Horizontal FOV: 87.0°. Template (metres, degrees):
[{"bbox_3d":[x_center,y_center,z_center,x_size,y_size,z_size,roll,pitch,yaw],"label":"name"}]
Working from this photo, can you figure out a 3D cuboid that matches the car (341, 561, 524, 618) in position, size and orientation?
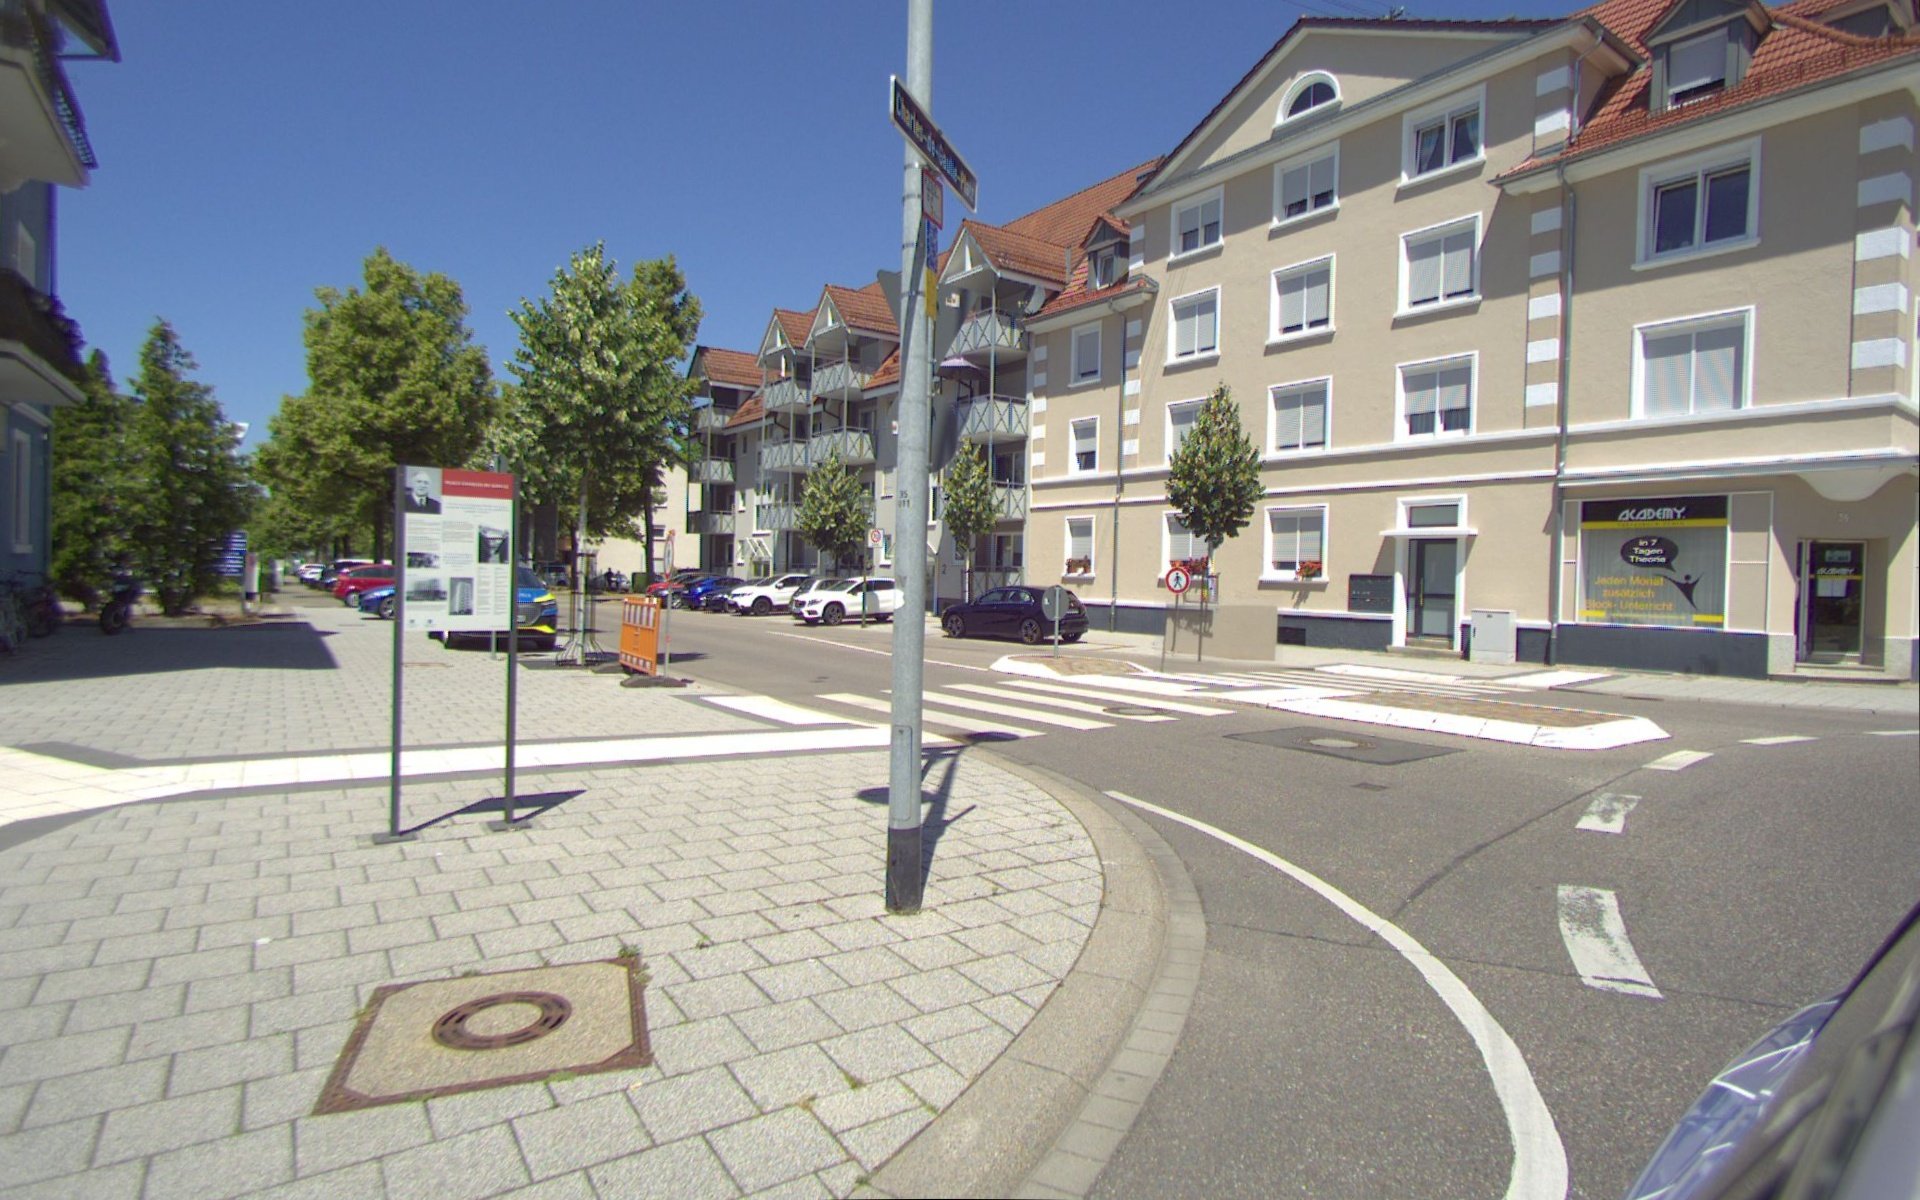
[{"bbox_3d":[-15.015,-0.257,28.926,4.387,1.499,1.905,1,-2,-37],"label":"car"}]

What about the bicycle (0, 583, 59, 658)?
[{"bbox_3d":[-12.584,0.253,13.572,0.431,0.918,1.714,3,-1,-33],"label":"bicycle"}]

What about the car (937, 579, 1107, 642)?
[{"bbox_3d":[1.557,0.200,26.332,4.154,1.454,1.879,2,2,41],"label":"car"}]

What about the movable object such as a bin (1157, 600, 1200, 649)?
[{"bbox_3d":[5.011,0.548,23.245,0.658,1.068,0.704,-2,2,-38],"label":"movable object such as a bin"}]

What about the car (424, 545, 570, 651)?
[{"bbox_3d":[-8.864,-0.060,19.184,1.869,1.765,4.252,2,0,-33],"label":"car"}]

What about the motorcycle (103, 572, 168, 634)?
[{"bbox_3d":[-15.132,0.045,18.606,0.576,1.065,1.908,3,-1,-30],"label":"motorcycle"}]

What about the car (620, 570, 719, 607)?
[{"bbox_3d":[-13.900,-0.577,48.463,4.211,1.661,1.908,-1,2,-31],"label":"car"}]

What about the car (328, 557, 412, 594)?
[{"bbox_3d":[-32.541,-1.337,55.844,3.922,1.884,2.000,1,-1,-34],"label":"car"}]

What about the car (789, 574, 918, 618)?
[{"bbox_3d":[-3.788,-0.188,36.307,4.213,1.454,1.907,-1,2,-34],"label":"car"}]

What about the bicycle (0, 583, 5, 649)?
[{"bbox_3d":[-13.048,0.237,13.249,0.431,0.918,1.714,3,-1,-33],"label":"bicycle"}]

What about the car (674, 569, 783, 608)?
[{"bbox_3d":[-10.019,-0.524,43.844,4.213,1.595,1.907,-1,2,-34],"label":"car"}]

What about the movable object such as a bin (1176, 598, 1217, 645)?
[{"bbox_3d":[5.580,0.498,23.889,0.631,1.068,0.704,0,1,-38],"label":"movable object such as a bin"}]

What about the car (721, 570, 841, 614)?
[{"bbox_3d":[-6.972,-0.365,39.523,4.213,1.595,1.907,-1,2,-34],"label":"car"}]

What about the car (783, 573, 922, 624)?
[{"bbox_3d":[-3.547,-0.091,33.558,4.213,1.542,1.907,-1,2,-34],"label":"car"}]

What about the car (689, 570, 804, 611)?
[{"bbox_3d":[-8.770,-0.429,41.680,4.213,1.595,1.907,-1,2,-34],"label":"car"}]

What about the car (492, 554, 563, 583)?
[{"bbox_3d":[-32.842,-2.366,76.922,4.655,2.039,1.999,0,1,-37],"label":"car"}]

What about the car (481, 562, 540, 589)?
[{"bbox_3d":[-35.698,-1.955,80.434,3.929,2.039,1.998,1,1,-40],"label":"car"}]

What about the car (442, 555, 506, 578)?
[{"bbox_3d":[-46.333,-3.148,96.484,5.176,2.039,2.236,0,1,-37],"label":"car"}]

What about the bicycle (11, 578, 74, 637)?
[{"bbox_3d":[-15.492,0.110,17.114,0.471,0.918,1.714,3,-1,-33],"label":"bicycle"}]

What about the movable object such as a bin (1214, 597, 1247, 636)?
[{"bbox_3d":[7.027,0.421,26.288,0.646,0.947,0.578,-1,2,-45],"label":"movable object such as a bin"}]

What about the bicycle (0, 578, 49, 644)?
[{"bbox_3d":[-14.358,0.149,15.359,0.471,0.918,1.714,3,-1,-33],"label":"bicycle"}]

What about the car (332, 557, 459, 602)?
[{"bbox_3d":[-20.680,-0.728,37.111,3.923,1.549,2.001,1,1,-34],"label":"car"}]

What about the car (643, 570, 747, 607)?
[{"bbox_3d":[-12.050,-0.575,46.044,4.213,1.595,1.907,-1,2,-34],"label":"car"}]

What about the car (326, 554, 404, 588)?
[{"bbox_3d":[-35.771,-1.732,60.873,3.923,1.882,2.002,1,3,-34],"label":"car"}]

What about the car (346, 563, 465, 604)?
[{"bbox_3d":[-21.667,-0.633,39.579,3.923,1.465,2.001,1,1,-34],"label":"car"}]
